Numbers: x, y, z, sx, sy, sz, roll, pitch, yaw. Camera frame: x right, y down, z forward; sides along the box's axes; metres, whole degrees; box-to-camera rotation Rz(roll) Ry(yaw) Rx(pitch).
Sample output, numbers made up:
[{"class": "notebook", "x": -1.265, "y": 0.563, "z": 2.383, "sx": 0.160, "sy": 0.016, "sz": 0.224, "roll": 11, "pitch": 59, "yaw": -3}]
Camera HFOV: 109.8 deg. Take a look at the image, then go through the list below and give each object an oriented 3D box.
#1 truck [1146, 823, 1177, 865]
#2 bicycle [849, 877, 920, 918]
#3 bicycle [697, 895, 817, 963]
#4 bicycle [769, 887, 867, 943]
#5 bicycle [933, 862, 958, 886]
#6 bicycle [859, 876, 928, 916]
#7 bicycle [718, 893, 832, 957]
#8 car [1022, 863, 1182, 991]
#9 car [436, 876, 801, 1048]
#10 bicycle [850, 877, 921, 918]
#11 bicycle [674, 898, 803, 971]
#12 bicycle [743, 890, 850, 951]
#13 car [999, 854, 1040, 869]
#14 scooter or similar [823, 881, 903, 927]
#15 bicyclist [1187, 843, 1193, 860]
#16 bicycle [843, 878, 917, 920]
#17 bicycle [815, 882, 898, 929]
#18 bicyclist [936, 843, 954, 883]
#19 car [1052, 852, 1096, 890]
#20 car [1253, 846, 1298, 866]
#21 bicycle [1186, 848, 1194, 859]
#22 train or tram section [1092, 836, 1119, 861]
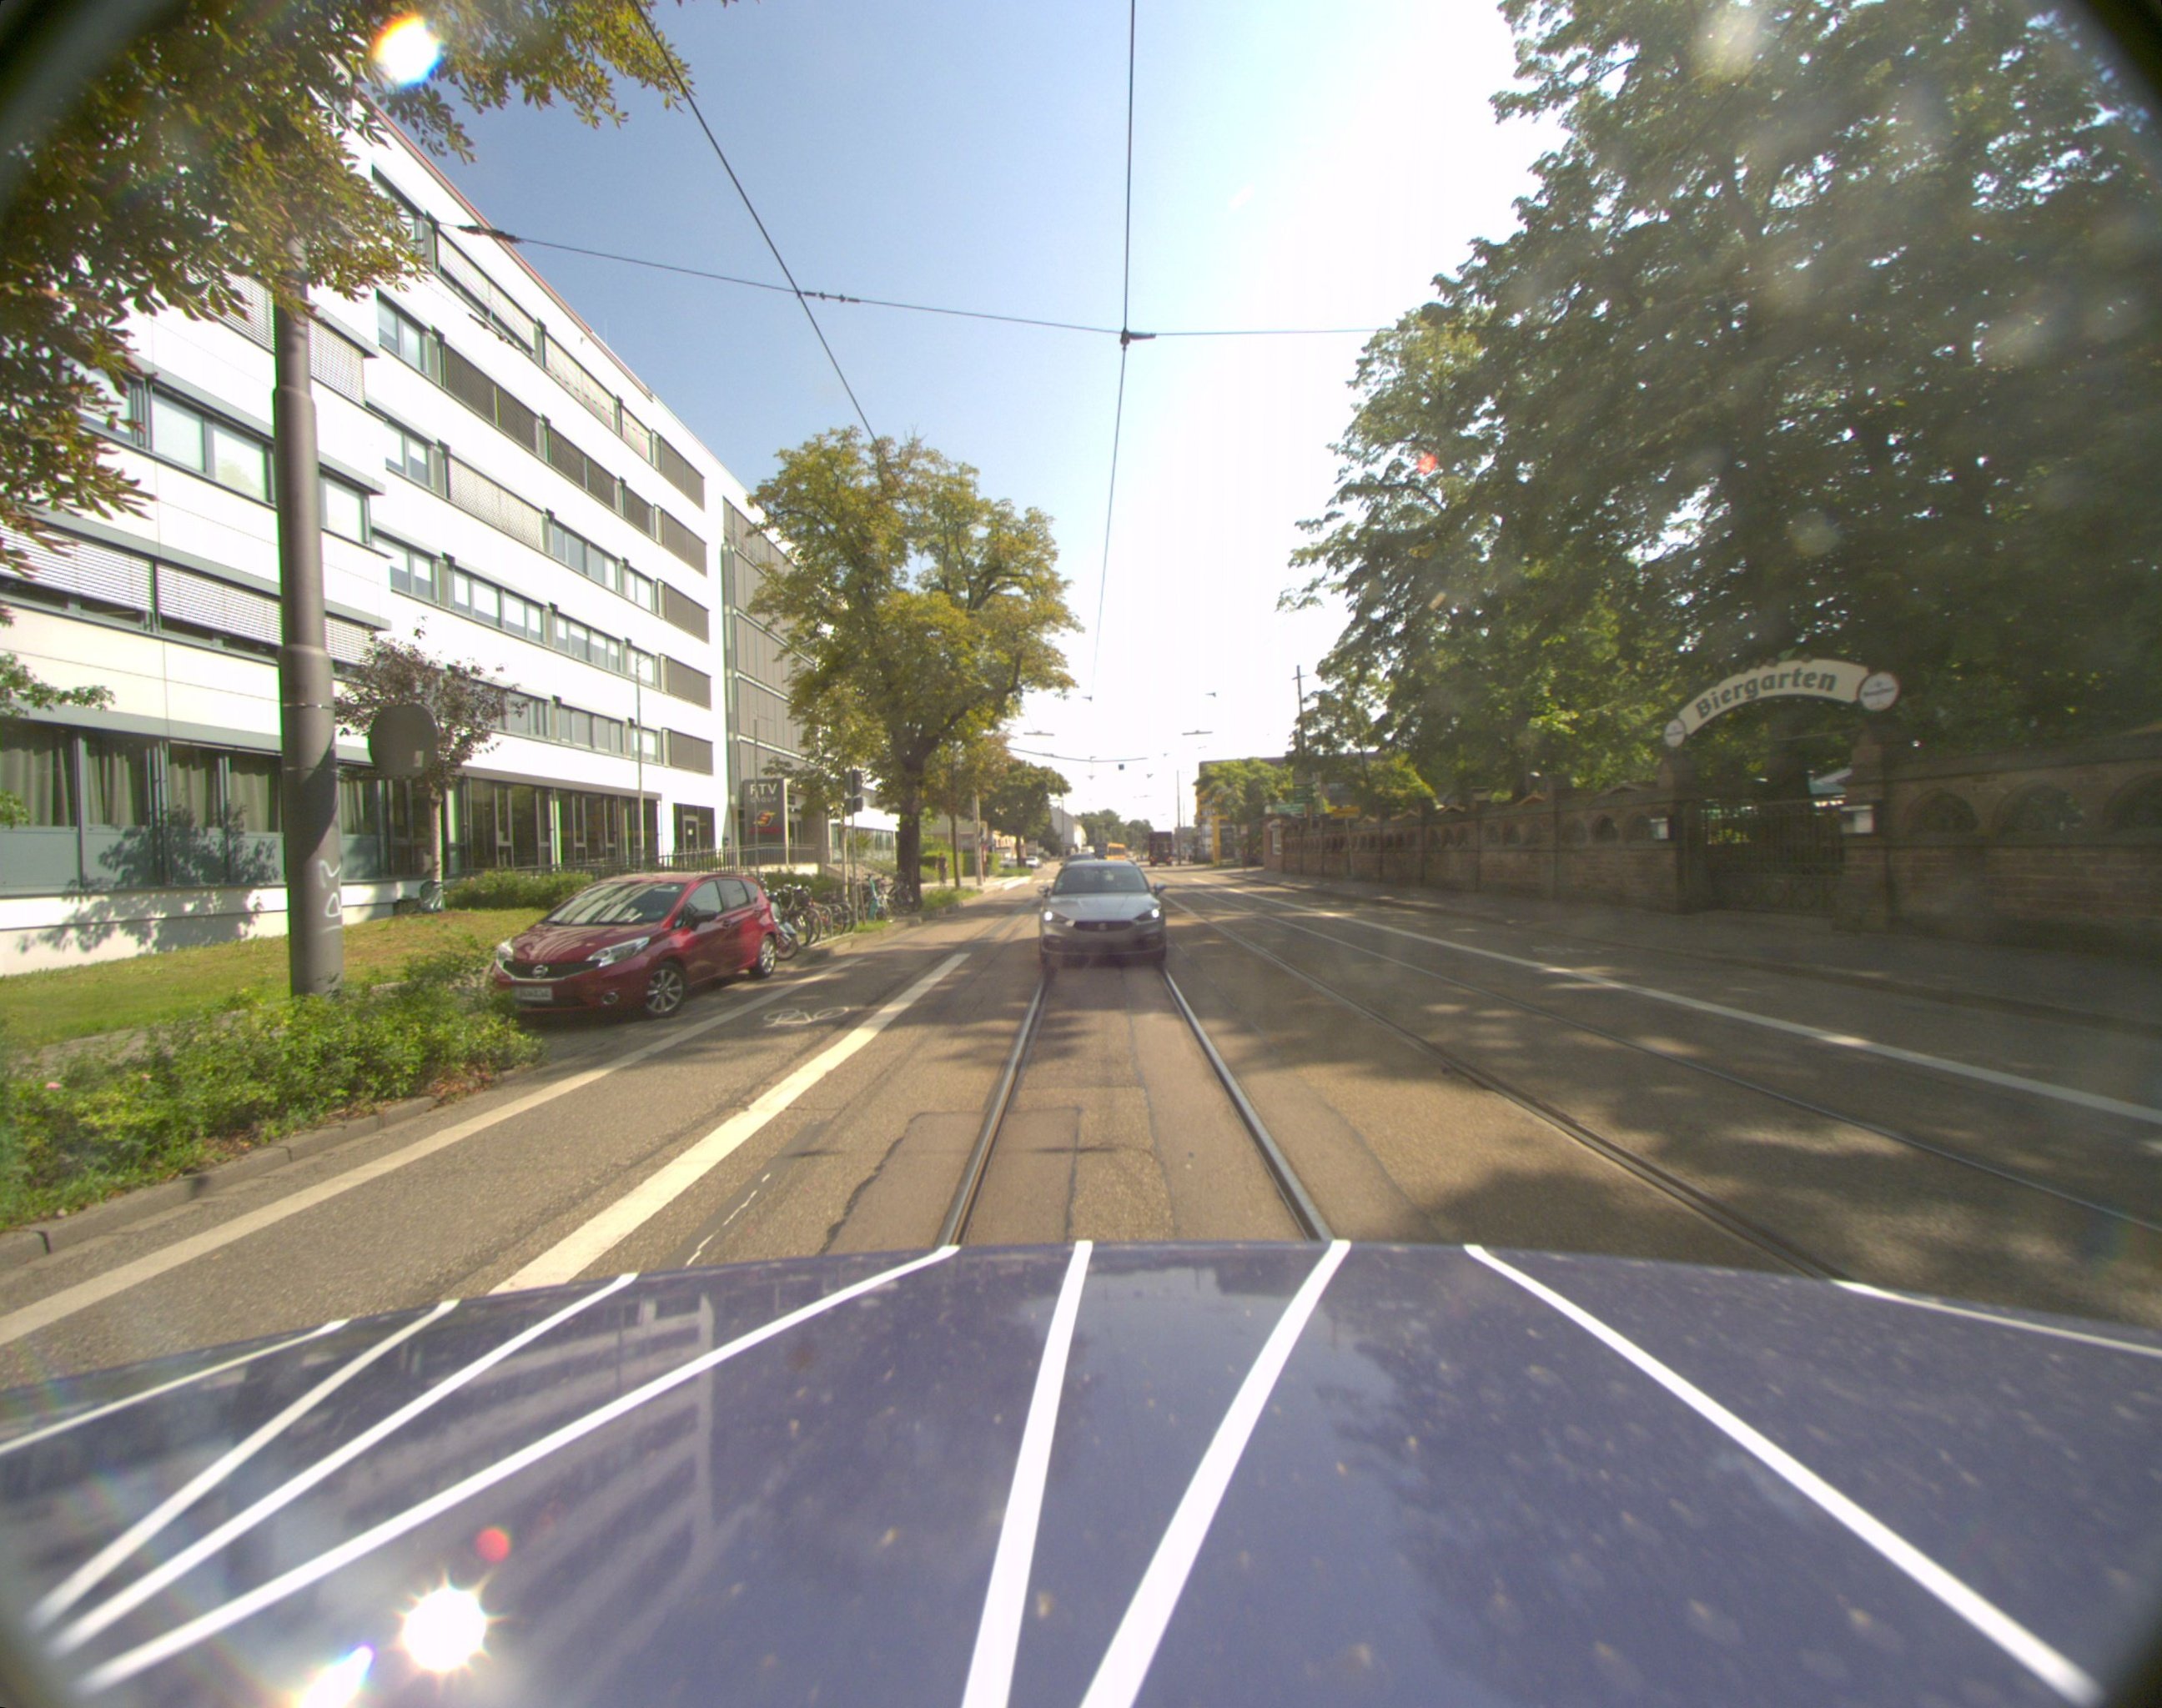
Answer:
[{"class": "truck", "x": 9.709, "y": -1.223, "z": 90.619, "sx": 3.171, "sy": 4.427, "sz": 16.847, "roll": -2, "pitch": 0, "yaw": 7}, {"class": "bicycle", "x": -5.355, "y": 1.188, "z": 20.754, "sx": 1.775, "sy": 1.065, "sz": 0.540, "roll": -1, "pitch": 1, "yaw": 0}, {"class": "bicycle", "x": -5.432, "y": 1.253, "z": 12.786, "sx": 1.775, "sy": 1.065, "sz": 0.540, "roll": -1, "pitch": 1, "yaw": 0}, {"class": "bicycle", "x": -5.307, "y": 1.228, "z": 15.371, "sx": 1.775, "sy": 1.065, "sz": 0.540, "roll": -1, "pitch": 1, "yaw": 0}, {"class": "bicycle", "x": -7.048, "y": 1.002, "z": 39.433, "sx": 1.139, "sy": 1.118, "sz": 2.534, "roll": -2, "pitch": 1, "yaw": -12}, {"class": "bicycle", "x": -5.284, "y": 1.180, "z": 21.471, "sx": 1.775, "sy": 1.065, "sz": 0.540, "roll": -1, "pitch": 1, "yaw": 0}, {"class": "bicycle", "x": -5.393, "y": 1.246, "z": 13.459, "sx": 1.775, "sy": 1.065, "sz": 0.540, "roll": -1, "pitch": 1, "yaw": 0}, {"class": "car", "x": 0.286, "y": 0.930, "z": 11.773, "sx": 1.928, "sy": 1.465, "sz": 4.817, "roll": -2, "pitch": 0, "yaw": 1}, {"class": "car", "x": -5.157, "y": 1.084, "z": 9.308, "sx": 1.760, "sy": 1.453, "sz": 4.274, "roll": -1, "pitch": 0, "yaw": 1}, {"class": "bicycle", "x": -5.344, "y": 1.188, "z": 20.776, "sx": 1.775, "sy": 1.065, "sz": 0.540, "roll": -1, "pitch": 1, "yaw": 0}, {"class": "bicycle", "x": -5.385, "y": 1.257, "z": 12.010, "sx": 1.775, "sy": 1.065, "sz": 0.540, "roll": -1, "pitch": 1, "yaw": 0}, {"class": "bicycle", "x": -5.328, "y": 1.237, "z": 14.269, "sx": 1.775, "sy": 1.065, "sz": 0.540, "roll": -1, "pitch": 1, "yaw": 0}, {"class": "car", "x": -6.986, "y": 0.880, "z": 86.237, "sx": 4.552, "sy": 1.506, "sz": 1.960, "roll": -2, "pitch": 1, "yaw": -4}, {"class": "scooter or similar", "x": -5.294, "y": 1.203, "z": 18.541, "sx": 1.775, "sy": 1.065, "sz": 0.540, "roll": -1, "pitch": 1, "yaw": 0}, {"class": "bicyclist", "x": 12.736, "y": -0.311, "z": 88.642, "sx": 0.642, "sy": 1.918, "sz": 1.176, "roll": -2, "pitch": 1, "yaw": 11}, {"class": "bicycle", "x": -5.323, "y": 1.191, "z": 20.175, "sx": 1.775, "sy": 1.065, "sz": 0.540, "roll": -1, "pitch": 1, "yaw": 0}, {"class": "bicycle", "x": -5.285, "y": 1.207, "z": 17.954, "sx": 1.775, "sy": 1.065, "sz": 0.540, "roll": -1, "pitch": 1, "yaw": 0}, {"class": "bicyclist", "x": -7.036, "y": 0.448, "z": 39.348, "sx": 0.783, "sy": 2.002, "sz": 1.273, "roll": -2, "pitch": 1, "yaw": -12}, {"class": "car", "x": -0.290, "y": 0.726, "z": 35.051, "sx": 1.834, "sy": 1.543, "sz": 4.032, "roll": -2, "pitch": 1, "yaw": 1}, {"class": "car", "x": 15.645, "y": 0.128, "z": 60.947, "sx": 1.932, "sy": 1.452, "sz": 4.536, "roll": -2, "pitch": 1, "yaw": 35}, {"class": "bicycle", "x": 12.781, "y": -0.030, "z": 88.868, "sx": 0.787, "sy": 1.233, "sz": 2.035, "roll": -2, "pitch": 0, "yaw": 12}, {"class": "train or tram section", "x": 4.329, "y": -0.943, "z": 130.444, "sx": 4.111, "sy": 3.711, "sz": 24.379, "roll": -2, "pitch": 0, "yaw": 2}]
